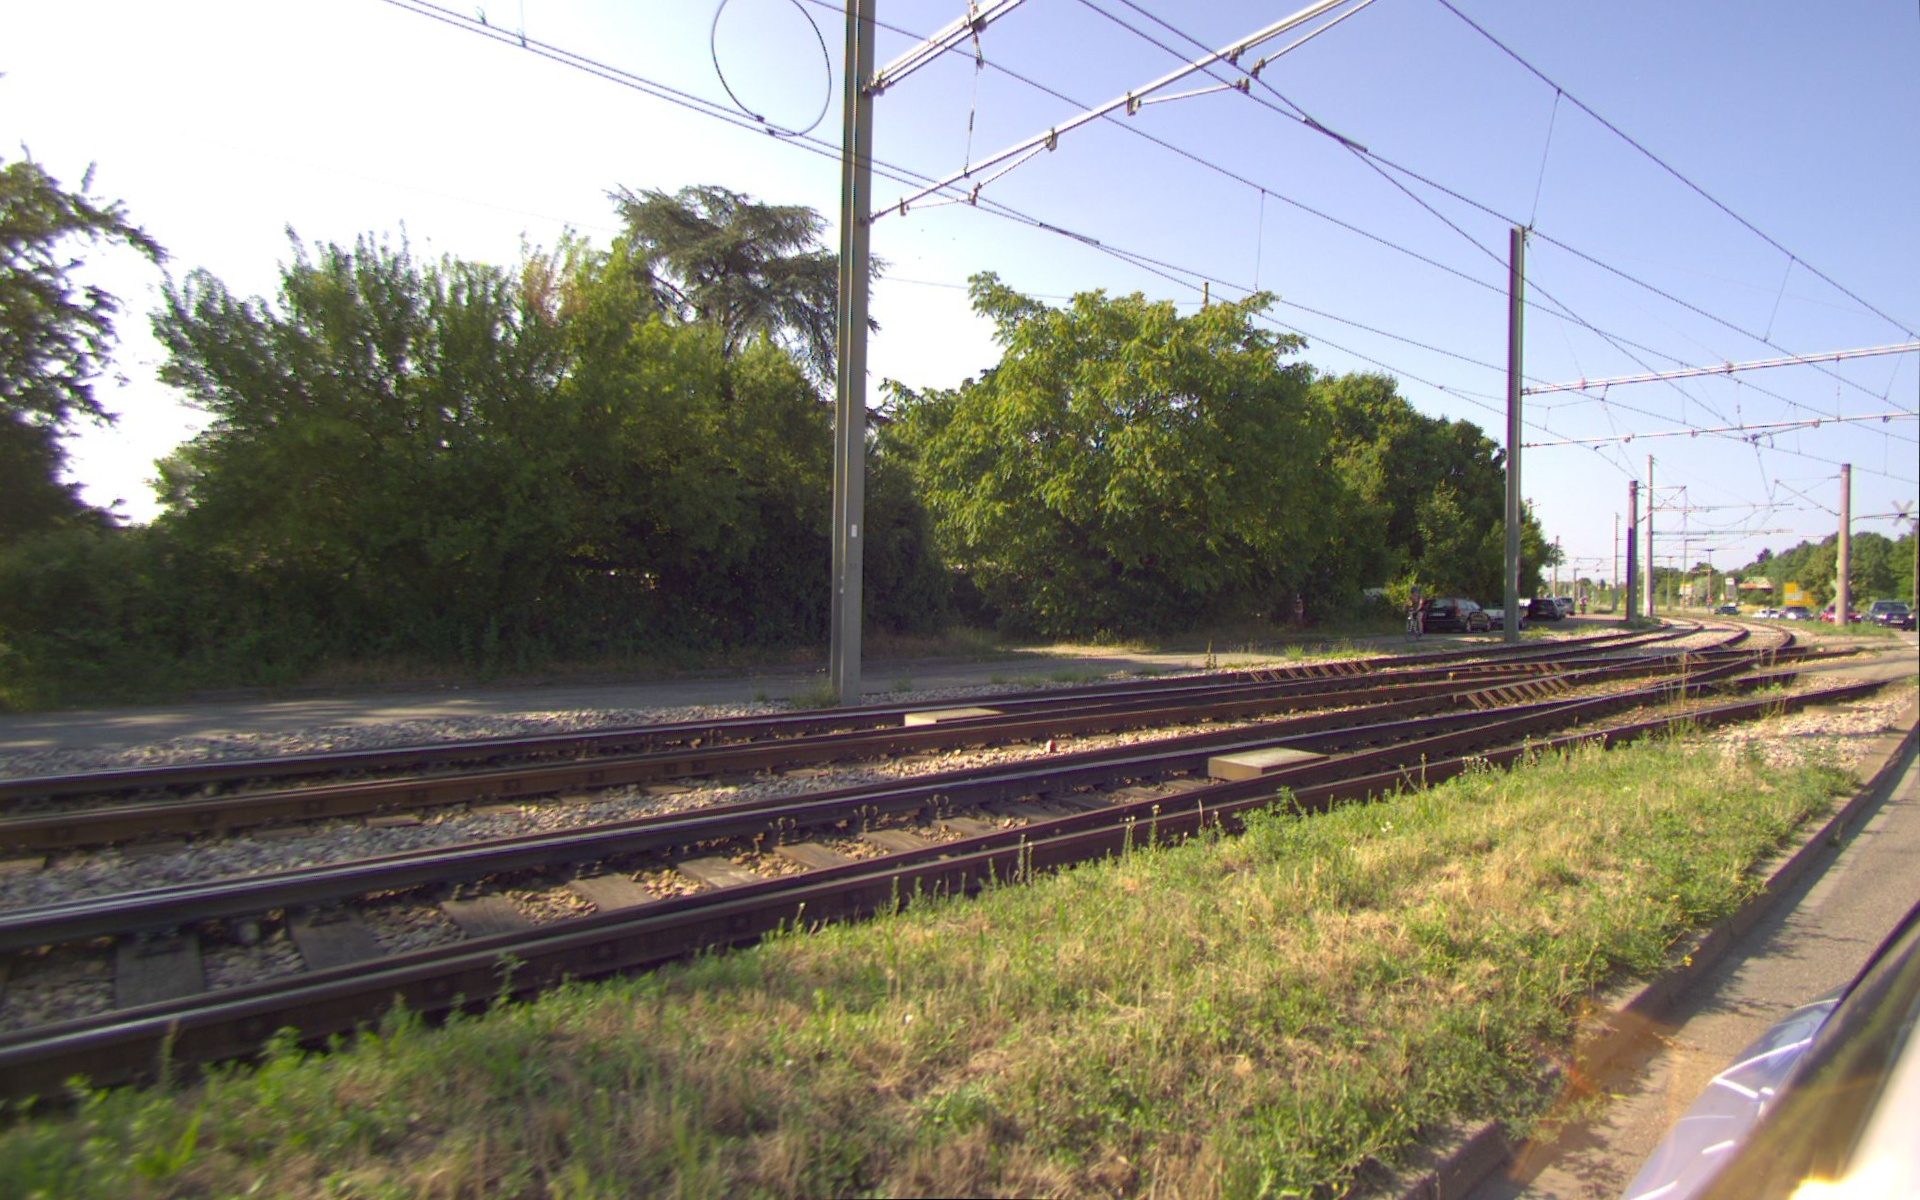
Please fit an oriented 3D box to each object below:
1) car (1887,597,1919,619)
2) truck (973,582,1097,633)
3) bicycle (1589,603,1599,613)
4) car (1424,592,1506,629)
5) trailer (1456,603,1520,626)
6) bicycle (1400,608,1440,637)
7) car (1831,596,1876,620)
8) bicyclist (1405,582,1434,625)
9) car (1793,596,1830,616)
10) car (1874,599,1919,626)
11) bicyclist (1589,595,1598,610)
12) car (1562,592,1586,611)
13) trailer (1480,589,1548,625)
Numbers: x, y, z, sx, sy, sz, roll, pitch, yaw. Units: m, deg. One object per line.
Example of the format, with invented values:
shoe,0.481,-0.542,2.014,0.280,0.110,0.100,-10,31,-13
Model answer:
car,64.871,0.537,68.887,1.684,1.458,4.238,1,0,30
truck,3.048,0.266,39.949,1.993,1.878,5.324,1,0,43
bicycle,55.456,0.692,88.556,0.639,0.921,1.795,0,0,28
car,21.116,0.445,42.187,1.698,1.475,4.803,-2,-2,44
trailer,24.050,0.657,46.031,1.729,0.951,3.672,-3,-2,41
bicycle,15.403,0.749,33.863,0.643,0.921,1.815,0,0,43
car,61.357,0.560,69.545,1.836,1.616,3.692,-1,-1,34
bicyclist,15.362,0.115,33.824,0.629,1.440,0.947,0,0,44
car,68.996,0.455,82.058,1.595,1.532,4.221,1,1,31
car,50.053,0.657,53.670,1.837,1.373,4.101,-1,-1,35
bicyclist,55.441,0.230,88.527,0.635,1.249,0.783,0,0,28
car,53.929,0.135,88.930,1.513,1.630,4.440,2,1,28
trailer,26.814,0.338,48.906,2.024,1.617,4.197,-2,-1,41
